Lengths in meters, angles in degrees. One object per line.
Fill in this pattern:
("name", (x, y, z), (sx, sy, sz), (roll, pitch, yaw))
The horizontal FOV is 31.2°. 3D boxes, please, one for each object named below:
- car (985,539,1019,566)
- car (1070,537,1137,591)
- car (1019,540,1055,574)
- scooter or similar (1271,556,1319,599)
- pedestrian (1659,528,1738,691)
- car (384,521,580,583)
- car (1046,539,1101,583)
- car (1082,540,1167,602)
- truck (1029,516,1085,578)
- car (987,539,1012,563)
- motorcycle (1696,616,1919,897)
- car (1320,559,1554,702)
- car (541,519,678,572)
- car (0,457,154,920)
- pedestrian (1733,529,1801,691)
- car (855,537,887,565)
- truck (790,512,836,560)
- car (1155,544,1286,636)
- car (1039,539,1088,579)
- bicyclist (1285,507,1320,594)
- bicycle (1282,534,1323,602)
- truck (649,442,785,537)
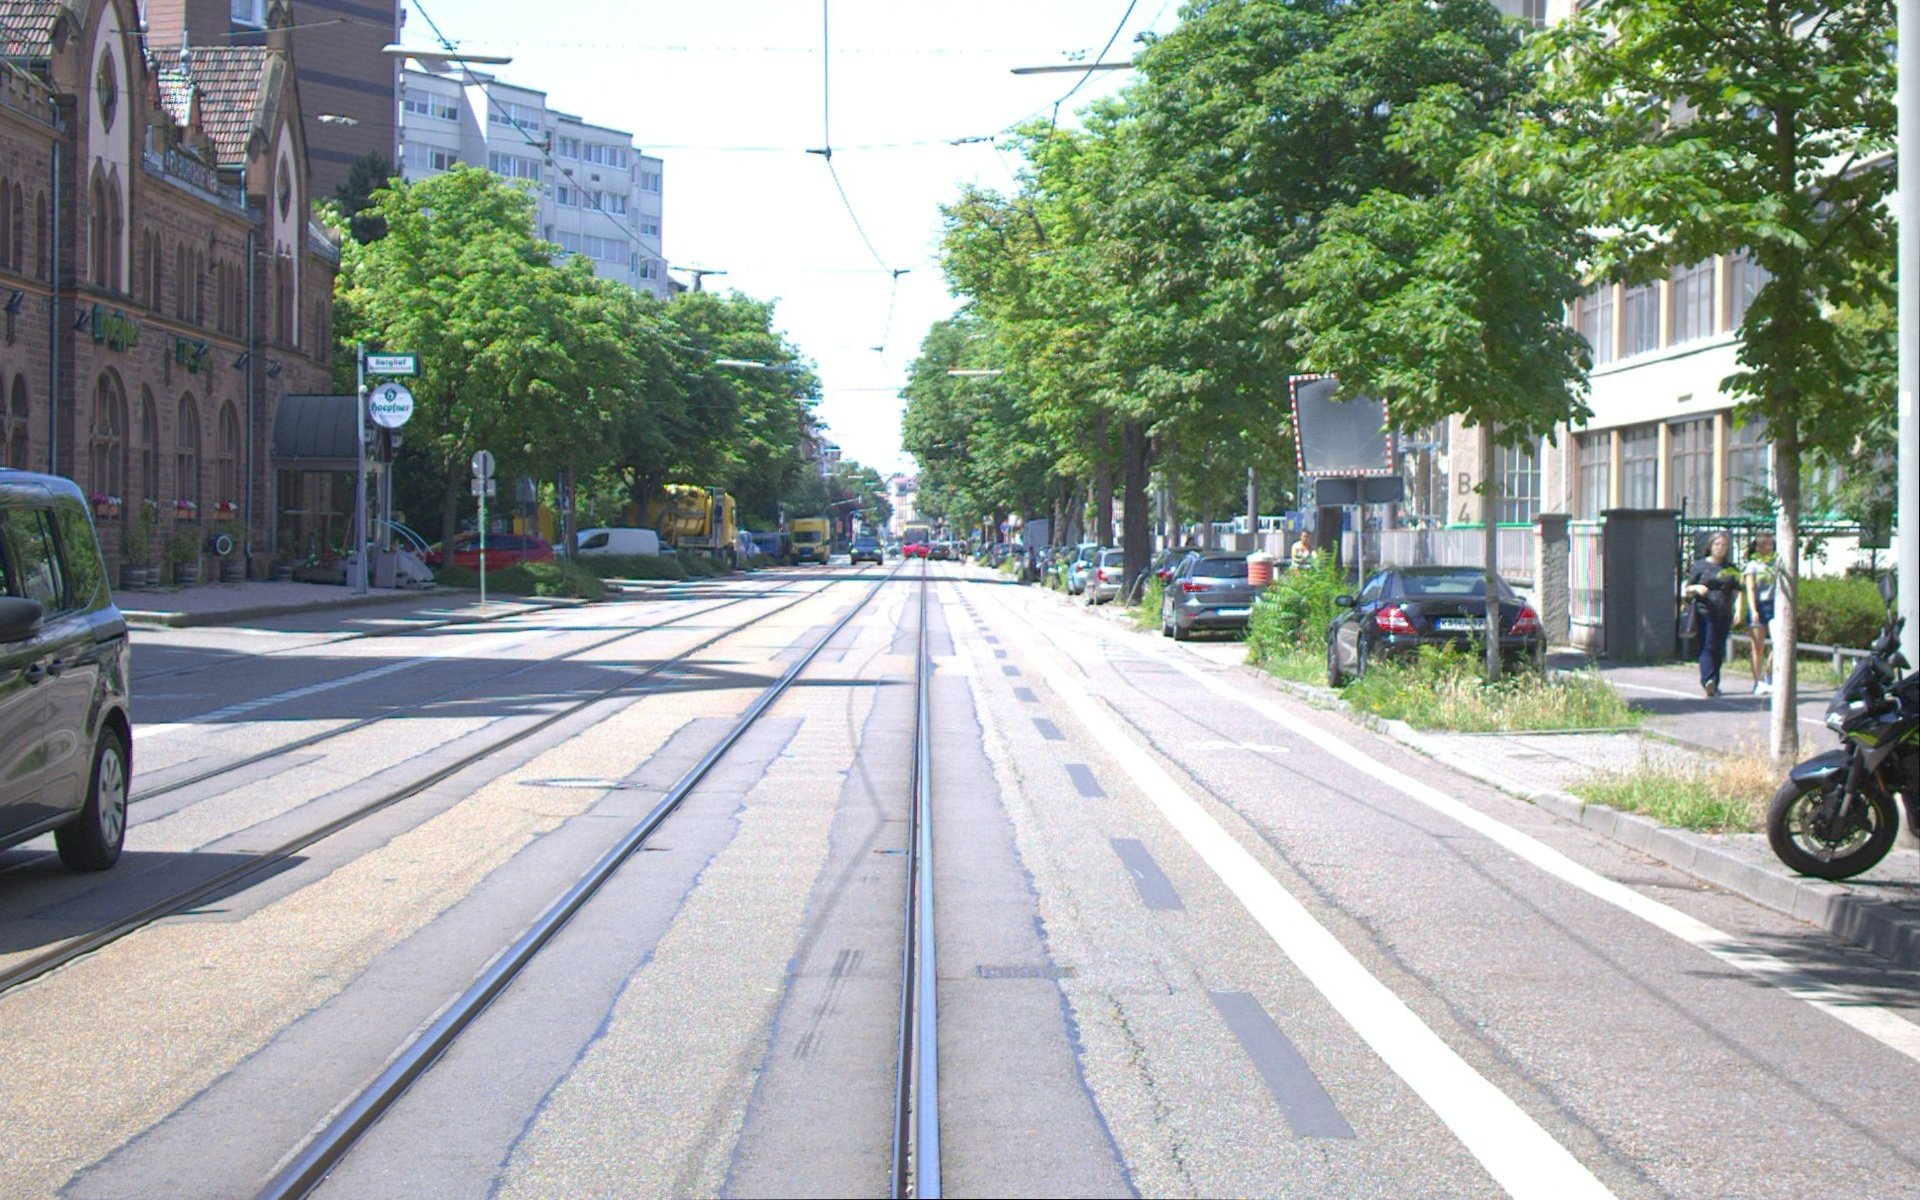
("car", (2.372, -2.685, 194.527), (1.639, 1.480, 3.873), (0, 0, -3))
("car", (4.141, -1.059, 99.787), (1.671, 1.512, 4.202), (0, 1, -1))
("car", (3.598, -2.017, 160.637), (1.644, 1.529, 3.785), (1, 1, 1))
("scooter or similar", (6.570, -0.445, 67.521), (0.761, 0.804, 1.556), (-1, 1, 0))
("pedestrian", (7.219, 0.088, 33.617), (0.618, 1.568, 0.611), (-1, 1, 0))
("car", (-12.807, -1.279, 92.124), (4.764, 1.561, 2.002), (1, 1, -28))
("car", (3.941, -1.378, 119.586), (1.824, 1.466, 4.486), (1, 1, 1))
("car", (4.137, -0.758, 86.839), (1.671, 1.494, 4.366), (0, 1, -3))
("truck", (3.939, -2.202, 141.046), (2.014, 2.480, 5.956), (0, 1, -1))
("car", (2.709, -3.377, 235.523), (1.592, 1.611, 3.908), (0, 0, -1))
("motorcycle", (4.347, 0.689, 15.223), (2.060, 1.208, 0.611), (1, 0, 39))
("car", (4.712, 0.267, 34.414), (1.751, 1.266, 3.834), (2, 1, 0))
("car", (-12.718, -1.985, 124.934), (4.533, 1.785, 1.901), (1, 1, -32))
("car", (-4.650, 0.327, 13.714), (1.904, 1.782, 4.256), (0, 1, -1))
("pedestrian", (7.870, 0.091, 33.539), (0.513, 1.568, 0.544), (-1, 1, 0))
("car", (-5.359, -2.970, 206.664), (1.831, 1.675, 4.185), (0, 1, 0))
("truck", (-8.972, -3.911, 210.355), (2.360, 2.843, 7.378), (0, 1, 1))
("car", (4.241, -0.196, 56.518), (1.671, 1.403, 4.749), (0, 1, -1))
("car", (3.939, -1.573, 130.626), (1.824, 1.466, 4.400), (1, 1, 2))
("bicyclist", (6.561, -0.957, 65.885), (0.580, 1.642, 0.599), (-1, 1, 0))
("bicycle", (6.550, -0.625, 65.844), (0.555, 1.261, 1.774), (-2, 1, 0))
("truck", (-10.766, -4.880, 153.949), (2.717, 3.828, 10.957), (2, 0, 14))
